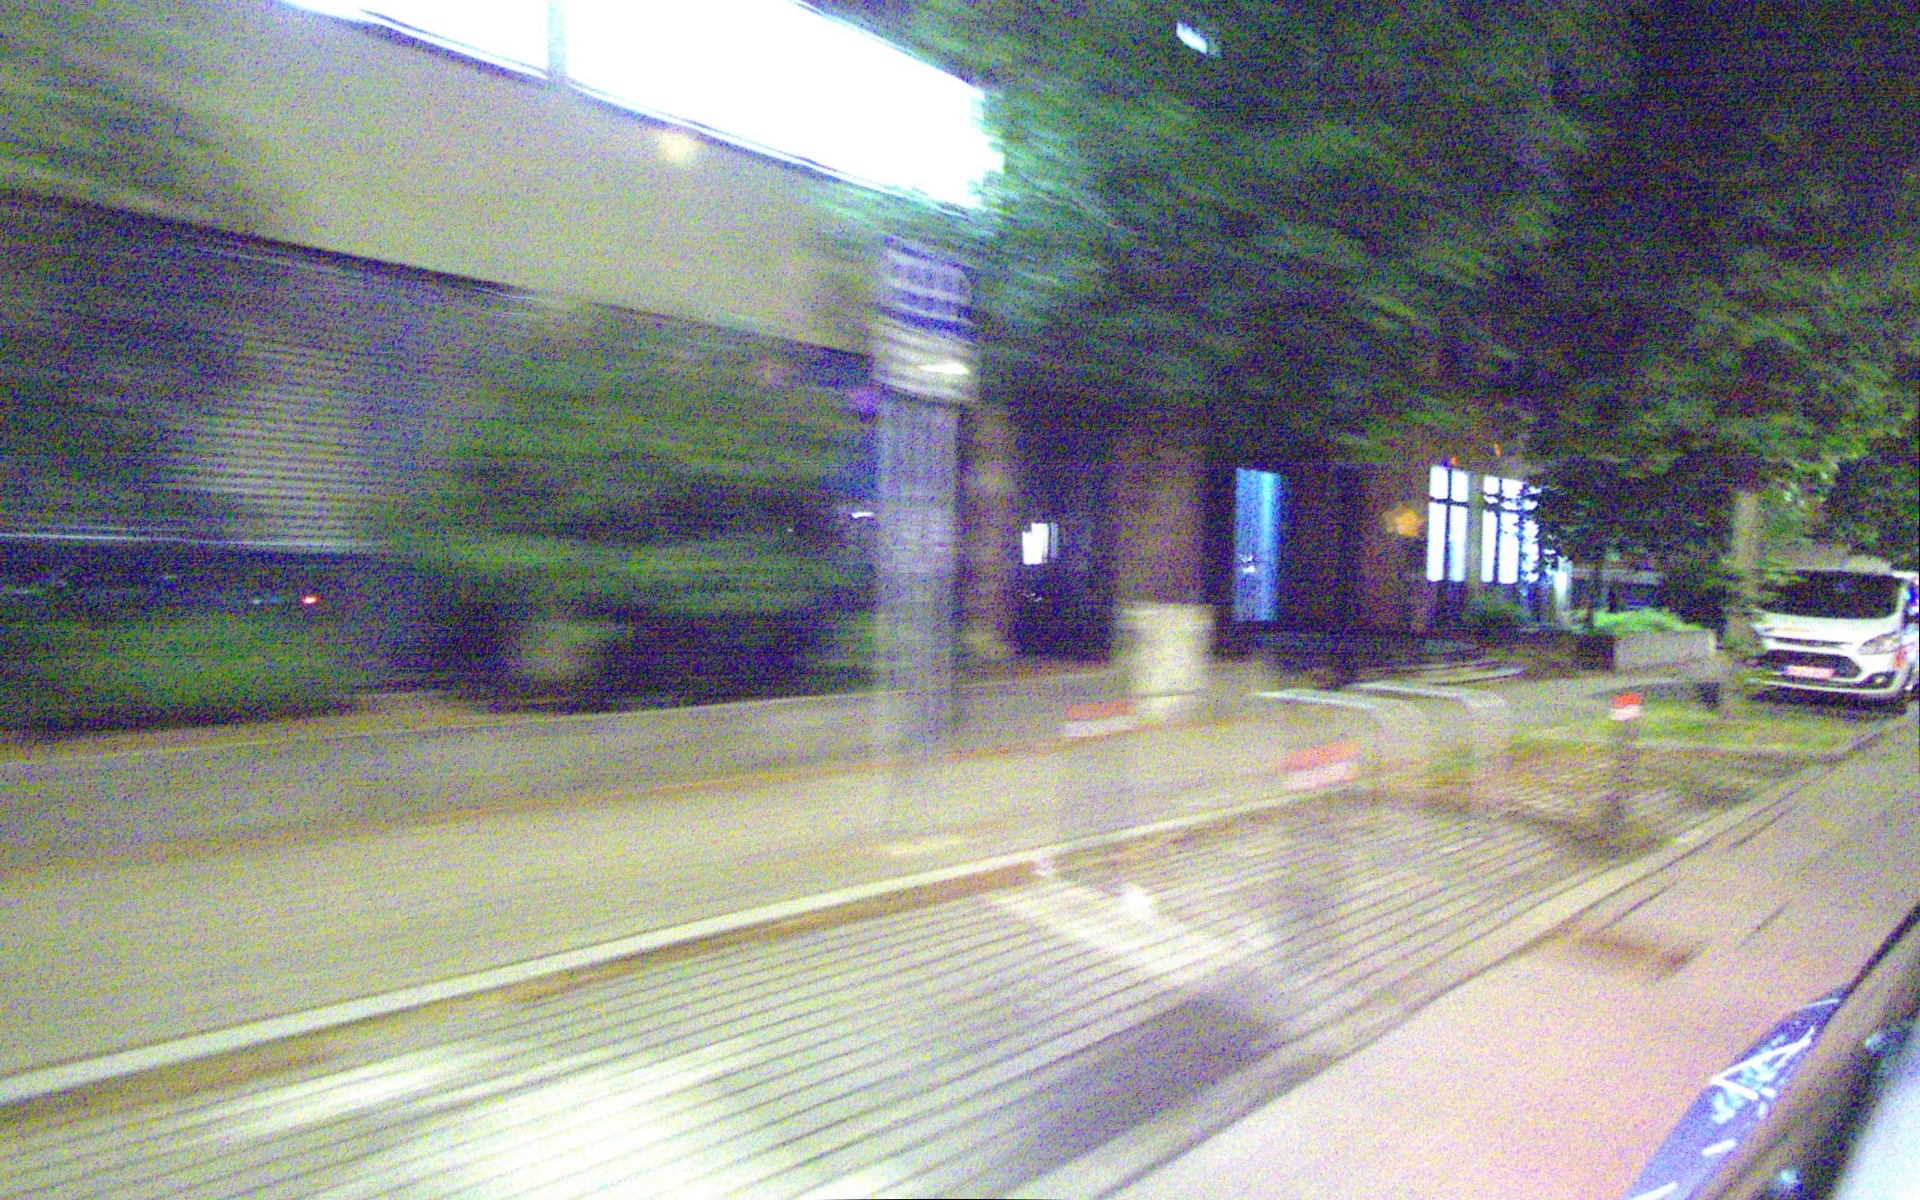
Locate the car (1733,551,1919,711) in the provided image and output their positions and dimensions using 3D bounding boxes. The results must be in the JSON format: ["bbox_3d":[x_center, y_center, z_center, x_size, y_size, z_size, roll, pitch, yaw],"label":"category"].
[{"bbox_3d":[13.329,0.368,15.138,4.525,1.988,1.954,0,3,-42],"label":"car"}]
